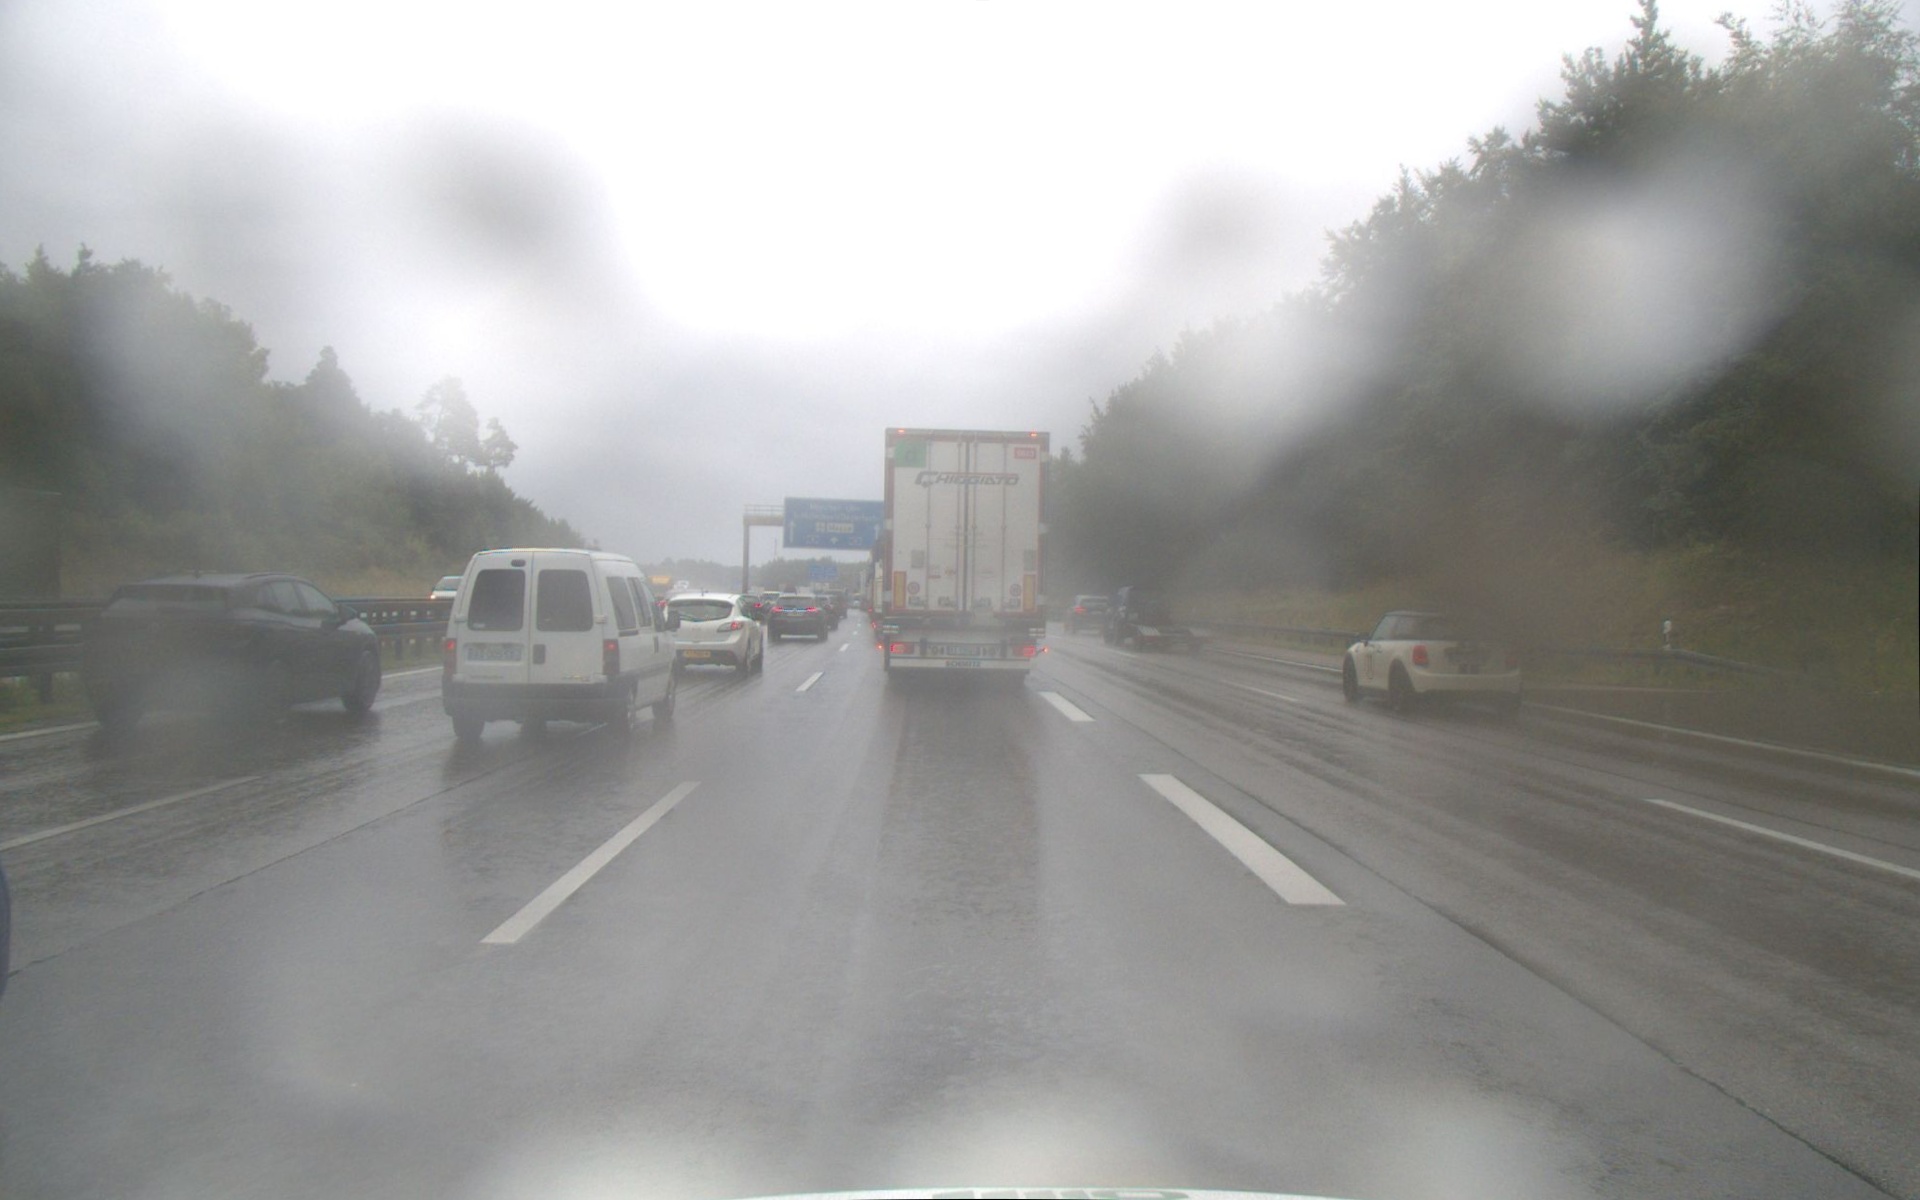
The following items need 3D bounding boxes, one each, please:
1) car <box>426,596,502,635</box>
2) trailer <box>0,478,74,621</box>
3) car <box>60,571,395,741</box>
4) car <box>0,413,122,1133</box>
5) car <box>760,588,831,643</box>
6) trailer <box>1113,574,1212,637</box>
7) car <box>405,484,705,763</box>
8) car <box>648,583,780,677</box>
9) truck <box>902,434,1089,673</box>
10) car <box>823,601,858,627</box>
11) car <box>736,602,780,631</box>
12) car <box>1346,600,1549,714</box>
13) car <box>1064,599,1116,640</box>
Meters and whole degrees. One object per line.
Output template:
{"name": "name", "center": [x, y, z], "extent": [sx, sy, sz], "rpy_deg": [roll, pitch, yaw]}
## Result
{"name": "car", "center": [-20.983, 0.621, 70.197], "extent": [1.953, 1.533, 4.705], "rpy_deg": [1, 1, -2]}
{"name": "trailer", "center": [-27.371, -1.358, 41.926], "extent": [2.963, 3.884, 13.555], "rpy_deg": [1, 0, -2]}
{"name": "car", "center": [-7.876, 0.525, 18.292], "extent": [1.808, 1.619, 4.465], "rpy_deg": [1, 1, -2]}
{"name": "car", "center": [-3.744, 0.469, 2.551], "extent": [2.222, 1.945, 5.016], "rpy_deg": [1, 0, 1]}
{"name": "car", "center": [-5.205, 0.457, 52.907], "extent": [1.808, 1.619, 4.466], "rpy_deg": [1, 1, 0]}
{"name": "trailer", "center": [5.917, 0.123, 48.969], "extent": [2.198, 1.744, 5.081], "rpy_deg": [1, 1, -1]}
{"name": "car", "center": [-4.232, 0.201, 18.235], "extent": [2.168, 2.618, 5.014], "rpy_deg": [1, 0, -2]}
{"name": "car", "center": [-4.550, 0.515, 31.156], "extent": [1.807, 1.619, 4.072], "rpy_deg": [1, 0, 1]}
{"name": "truck", "center": [0.522, -0.698, 31.081], "extent": [2.813, 3.624, 11.301], "rpy_deg": [1, 0, 0]}
{"name": "car", "center": [-6.528, 0.746, 90.622], "extent": [1.809, 1.354, 4.464], "rpy_deg": [1, 1, -3]}
{"name": "car", "center": [-10.104, 0.818, 82.934], "extent": [1.809, 1.354, 4.464], "rpy_deg": [1, 1, -3]}
{"name": "car", "center": [6.911, 0.749, 23.877], "extent": [1.753, 1.431, 4.229], "rpy_deg": [1, 0, 1]}
{"name": "car", "center": [5.445, 0.781, 69.768], "extent": [1.948, 1.611, 4.768], "rpy_deg": [1, 1, 2]}
